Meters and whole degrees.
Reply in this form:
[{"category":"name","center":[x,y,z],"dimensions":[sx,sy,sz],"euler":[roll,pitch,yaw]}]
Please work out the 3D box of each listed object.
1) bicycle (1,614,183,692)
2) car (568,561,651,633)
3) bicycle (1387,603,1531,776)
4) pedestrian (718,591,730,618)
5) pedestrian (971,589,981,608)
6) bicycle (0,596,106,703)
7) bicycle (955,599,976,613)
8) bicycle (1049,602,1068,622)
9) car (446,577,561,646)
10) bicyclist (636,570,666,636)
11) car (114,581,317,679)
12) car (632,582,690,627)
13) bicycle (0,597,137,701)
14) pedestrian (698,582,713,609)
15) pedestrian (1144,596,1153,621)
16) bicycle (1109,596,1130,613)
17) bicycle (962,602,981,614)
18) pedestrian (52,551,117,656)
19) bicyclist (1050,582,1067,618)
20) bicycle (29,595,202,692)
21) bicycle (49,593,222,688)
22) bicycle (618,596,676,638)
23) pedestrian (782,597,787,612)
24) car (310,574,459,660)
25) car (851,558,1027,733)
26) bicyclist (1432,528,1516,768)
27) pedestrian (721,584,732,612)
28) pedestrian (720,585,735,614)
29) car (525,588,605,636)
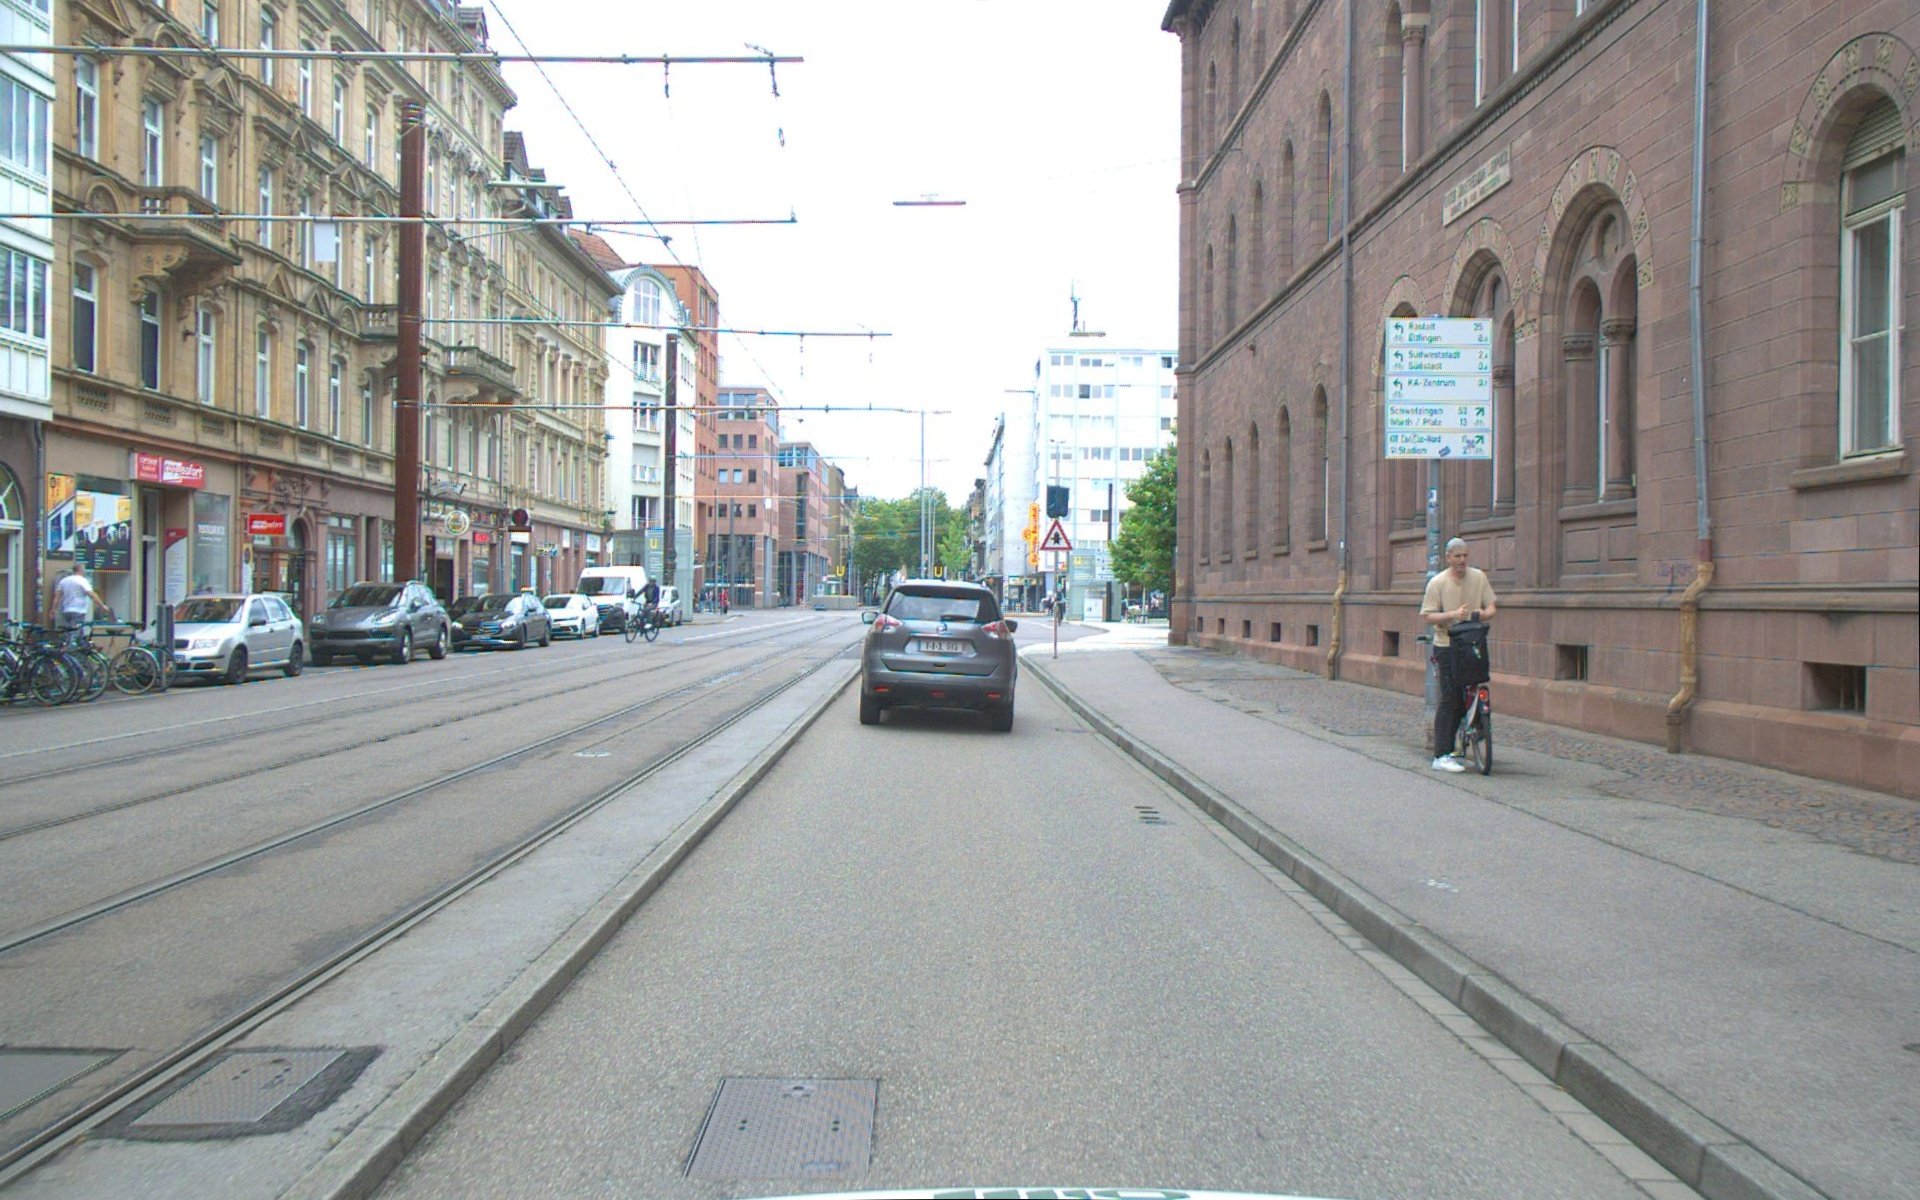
[{"category":"bicycle","center":[-12.375,0.755,23.622],"dimensions":[2.235,1.059,0.619],"euler":[1,0,-1]},{"category":"car","center":[-13.111,-0.113,62.198],"dimensions":[2.011,2.530,5.663],"euler":[-2,0,-2]},{"category":"bicycle","center":[4.071,0.681,13.648],"dimensions":[0.436,1.298,2.226],"euler":[-1,0,-1]},{"category":"pedestrian","center":[-15.213,0.294,106.509],"dimensions":[0.707,1.716,0.660],"euler":[1,-2,-12]},{"category":"pedestrian","center":[1.517,-0.102,156.950],"dimensions":[0.718,1.776,0.662],"euler":[2,0,-9]},{"category":"bicycle","center":[-12.413,0.650,21.502],"dimensions":[2.235,1.352,0.666],"euler":[-1,0,-1]},{"category":"bicycle","center":[0.523,0.572,157.596],"dimensions":[1.836,1.192,0.529],"euler":[2,0,-16]},{"category":"bicycle","center":[5.160,0.626,86.780],"dimensions":[0.883,1.063,3.278],"euler":[1,0,1]},{"category":"car","center":[-12.288,0.292,44.841],"dimensions":[1.881,1.719,5.050],"euler":[-2,0,-2]},{"category":"bicyclist","center":[-9.114,0.094,48.788],"dimensions":[0.632,1.916,1.028],"euler":[2,0,0]},{"category":"car","center":[-12.352,0.457,27.699],"dimensions":[1.708,1.514,3.919],"euler":[0,0,-2]},{"category":"car","center":[-13.169,0.187,73.110],"dimensions":[1.864,1.897,4.518],"euler":[-1,0,-3]},{"category":"bicycle","center":[-12.415,0.659,22.331],"dimensions":[2.235,1.352,0.666],"euler":[-1,0,-1]},{"category":"pedestrian","center":[-16.196,-0.277,105.403],"dimensions":[0.854,1.716,0.659],"euler":[1,-2,-16]},{"category":"pedestrian","center":[12.044,0.552,105.618],"dimensions":[0.424,1.583,0.499],"euler":[2,0,-1]},{"category":"bicycle","center":[9.354,0.272,96.831],"dimensions":[0.645,0.995,1.752],"euler":[0,0,27]},{"category":"bicycle","center":[1.081,0.721,157.476],"dimensions":[1.668,1.084,0.435],"euler":[2,0,-16]},{"category":"pedestrian","center":[-15.482,0.064,29.251],"dimensions":[0.642,1.813,0.782],"euler":[1,-1,35]},{"category":"bicyclist","center":[5.148,0.002,86.652],"dimensions":[0.817,1.844,0.878],"euler":[2,0,1]},{"category":"bicycle","center":[-12.367,0.628,24.242],"dimensions":[2.235,1.352,0.521],"euler":[-1,0,-1]},{"category":"bicycle","center":[-12.425,0.603,24.963],"dimensions":[2.235,1.352,0.666],"euler":[-1,0,-1]},{"category":"bicycle","center":[-9.222,0.495,48.768],"dimensions":[0.573,1.194,2.043],"euler":[-1,0,25]},{"category":"pedestrian","center":[-17.863,0.470,168.465],"dimensions":[0.442,1.559,0.519],"euler":[2,0,-19]},{"category":"car","center":[-12.403,0.324,35.989],"dimensions":[1.777,1.719,5.028],"euler":[0,0,-4]},{"category":"car","center":[-0.149,0.494,20.550],"dimensions":[1.825,1.805,4.568],"euler":[4,0,2]},{"category":"bicyclist","center":[4.114,0.376,13.247],"dimensions":[0.518,1.891,0.450],"euler":[0,0,-2]},{"category":"pedestrian","center":[-14.686,-0.125,104.108],"dimensions":[0.648,1.716,0.720],"euler":[1,-2,-13]},{"category":"pedestrian","center":[-15.956,-0.018,113.572],"dimensions":[0.879,1.923,0.798],"euler":[2,-1,-3]},{"category":"car","center":[-12.938,0.383,54.412],"dimensions":[1.735,1.447,4.163],"euler":[-2,0,-2]}]
